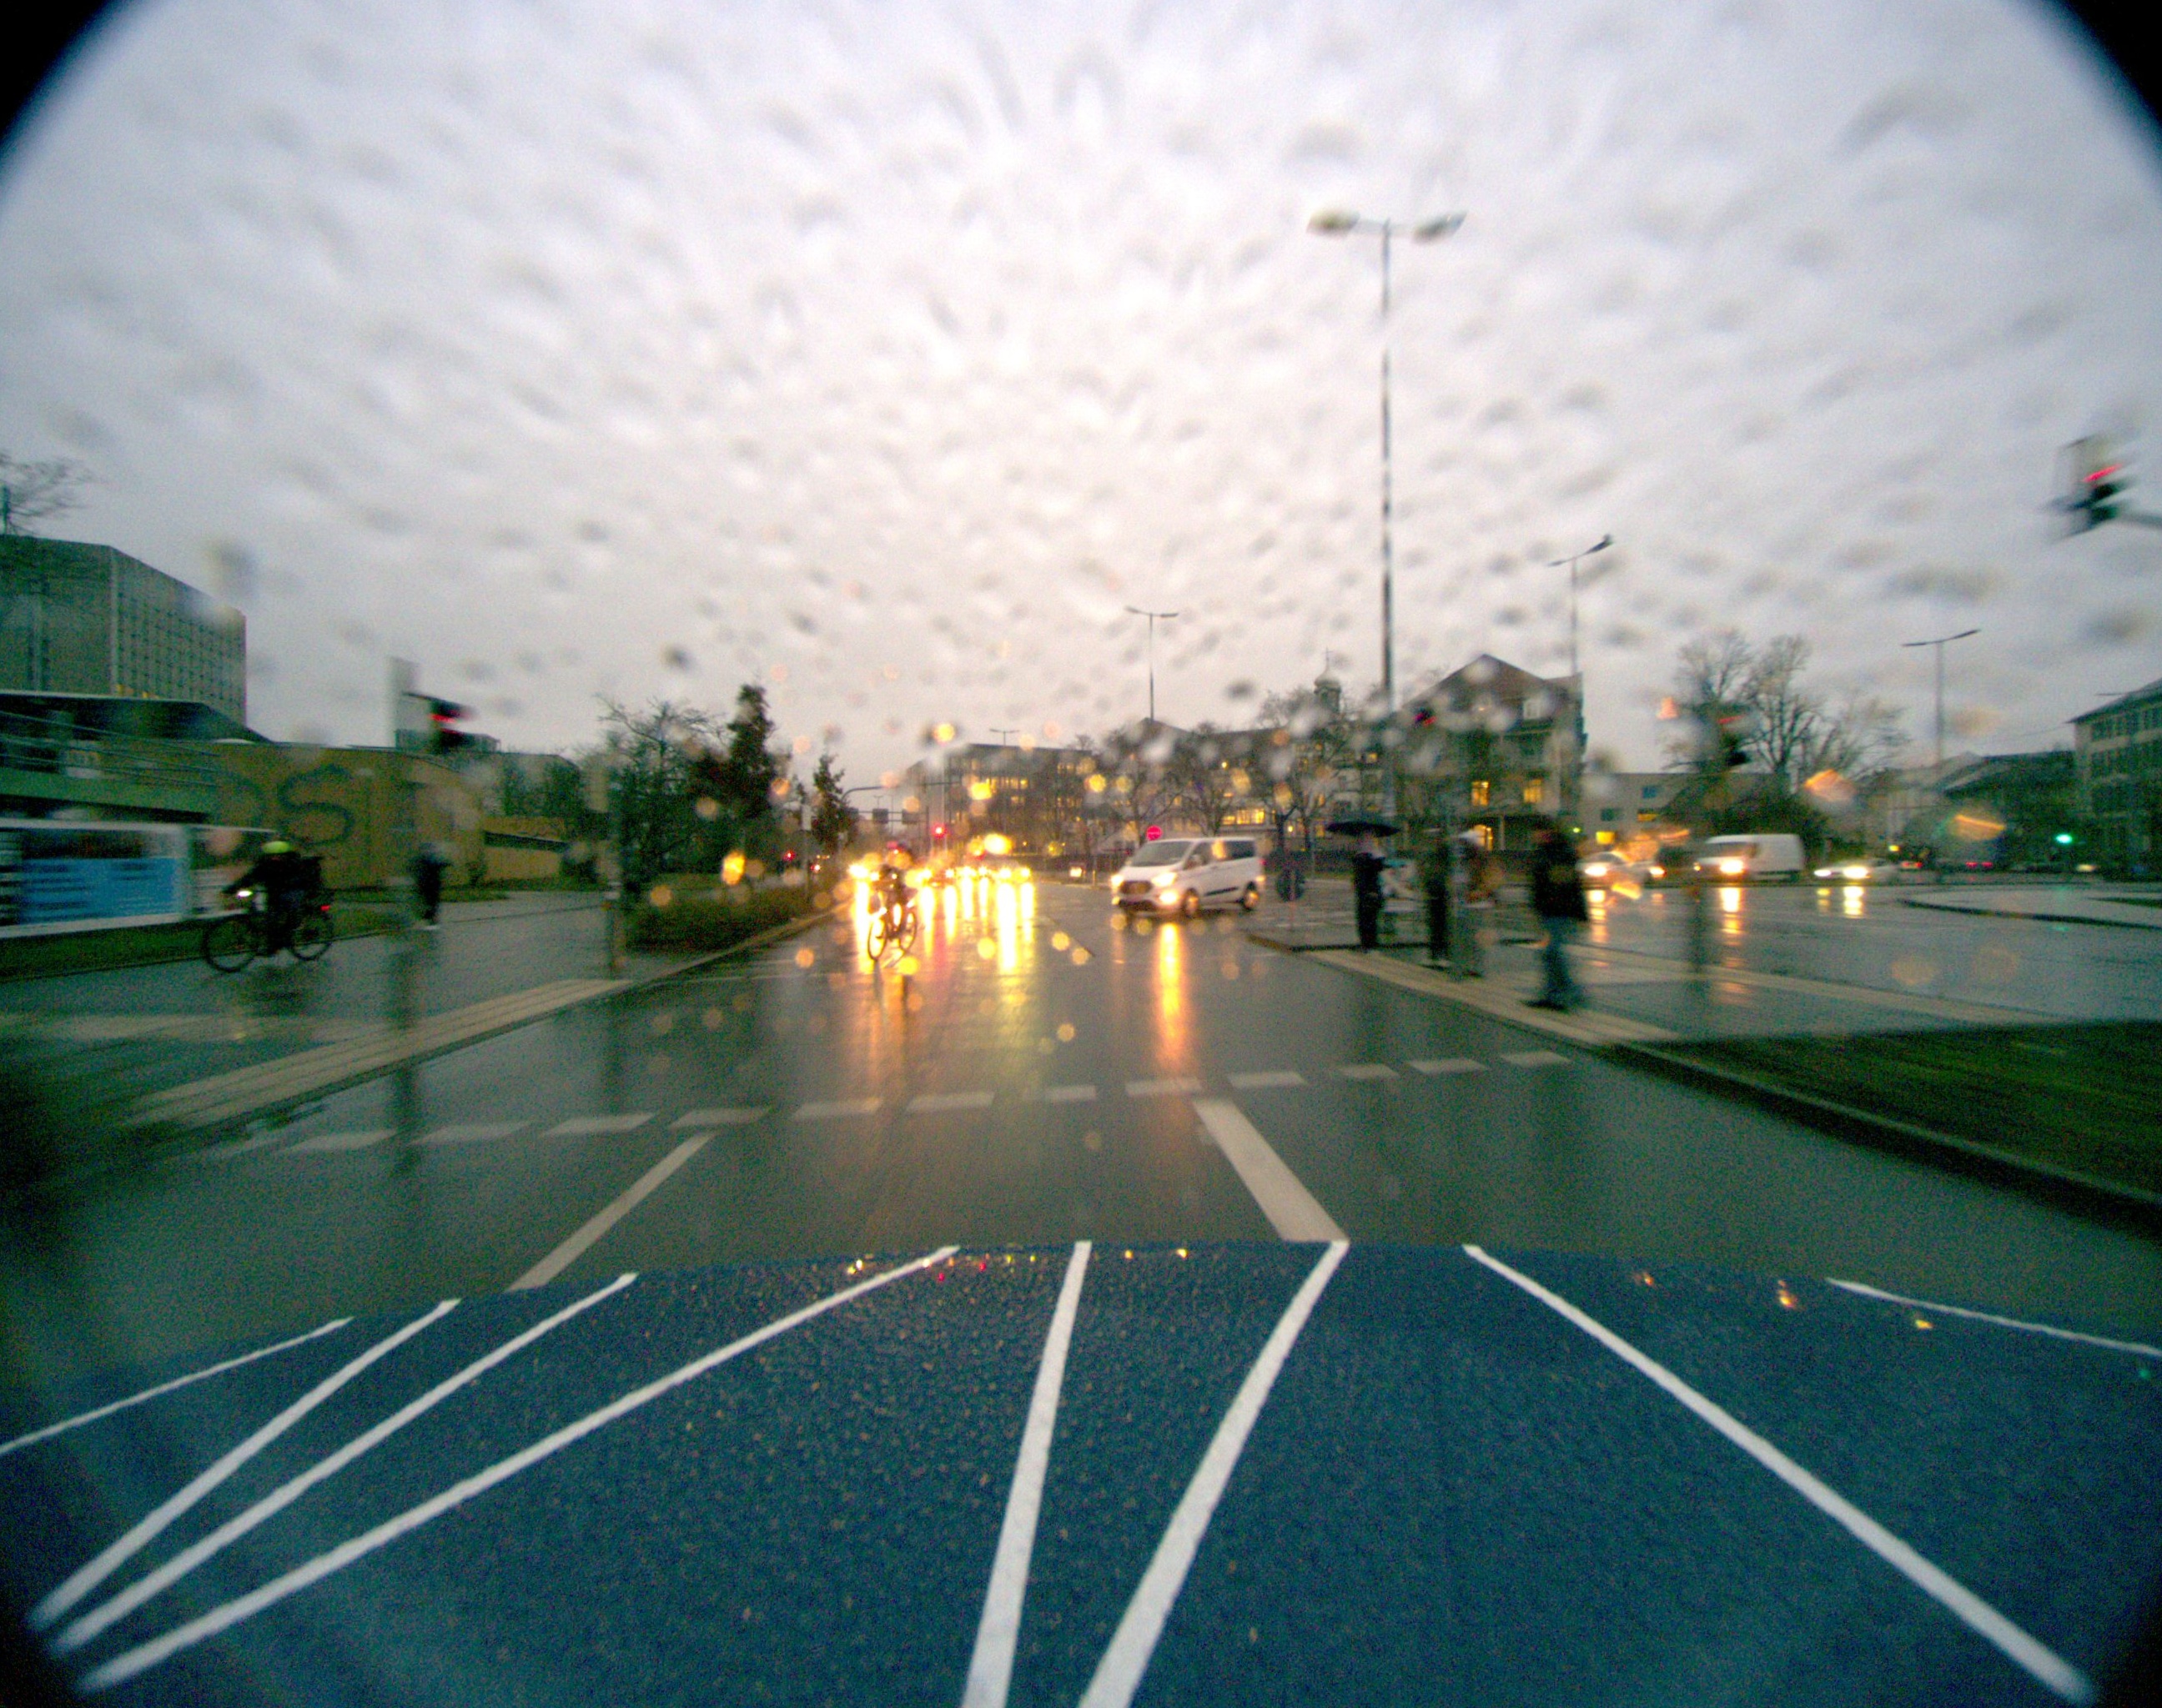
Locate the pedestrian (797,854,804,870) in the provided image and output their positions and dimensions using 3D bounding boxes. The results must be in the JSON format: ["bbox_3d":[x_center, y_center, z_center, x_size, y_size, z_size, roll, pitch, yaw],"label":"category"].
[{"bbox_3d":[-35.384,1.062,95.938,0.767,2.002,0.771,0,1,-20],"label":"pedestrian"}]

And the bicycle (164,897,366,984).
[{"bbox_3d":[-10.997,1.118,10.372,0.563,0.941,2.094,0,0,-3],"label":"bicycle"}]

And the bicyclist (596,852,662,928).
[{"bbox_3d":[-10.004,0.773,16.868,0.806,1.608,1.085,3,0,-6],"label":"bicyclist"}]

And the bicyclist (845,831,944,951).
[{"bbox_3d":[-3.053,0.587,12.556,1.025,1.872,1.237,-1,0,18],"label":"bicyclist"}]

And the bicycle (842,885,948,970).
[{"bbox_3d":[-3.037,1.167,12.606,0.793,1.215,1.906,-2,0,17],"label":"bicycle"}]

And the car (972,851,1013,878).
[{"bbox_3d":[-6.803,0.740,57.722,2.003,1.739,4.463,7,-2,-19],"label":"car"}]

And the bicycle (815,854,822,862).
[{"bbox_3d":[-32.287,0.509,93.554,0.795,1.009,2.898,0,0,-19],"label":"bicycle"}]

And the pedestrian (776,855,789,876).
[{"bbox_3d":[-25.617,0.999,65.224,0.934,1.815,0.832,0,1,-19],"label":"pedestrian"}]

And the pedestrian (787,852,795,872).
[{"bbox_3d":[-30.292,0.816,79.418,0.767,2.002,0.909,0,1,-20],"label":"pedestrian"}]

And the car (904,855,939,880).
[{"bbox_3d":[-11.700,0.968,55.523,2.002,1.739,4.463,0,0,-19],"label":"car"}]

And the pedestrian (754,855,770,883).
[{"bbox_3d":[-21.259,1.012,50.695,0.934,1.815,0.832,0,1,-19],"label":"pedestrian"}]

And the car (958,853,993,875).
[{"bbox_3d":[-8.866,0.844,63.494,2.002,1.739,4.463,1,0,-19],"label":"car"}]

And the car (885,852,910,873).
[{"bbox_3d":[-17.708,0.806,73.208,2.002,1.912,4.260,0,0,-19],"label":"car"}]

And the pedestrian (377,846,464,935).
[{"bbox_3d":[-12.936,0.720,14.917,0.913,1.677,0.927,1,-2,-14],"label":"pedestrian"}]

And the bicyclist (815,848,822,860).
[{"bbox_3d":[-32.309,0.046,93.582,0.768,1.481,0.993,0,1,-19],"label":"bicyclist"}]

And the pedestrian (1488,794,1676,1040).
[{"bbox_3d":[4.385,0.532,6.758,0.848,1.993,1.110,-1,-2,-3],"label":"pedestrian"}]

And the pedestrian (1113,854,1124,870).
[{"bbox_3d":[4.100,0.864,83.181,0.809,1.820,0.946,0,1,-23],"label":"pedestrian"}]

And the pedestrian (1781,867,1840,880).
[{"bbox_3d":[55.408,1.510,57.774,3.091,0.924,0.951,-3,-3,37],"label":"pedestrian"}]

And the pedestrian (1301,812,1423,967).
[{"bbox_3d":[3.973,0.491,10.767,1.217,2.037,1.033,0,-2,-31],"label":"pedestrian"}]

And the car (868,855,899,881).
[{"bbox_3d":[-14.258,0.957,54.771,2.001,1.827,3.994,0,0,-17],"label":"car"}]

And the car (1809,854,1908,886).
[{"bbox_3d":[40.923,0.812,39.987,4.822,1.634,1.835,0,0,-21],"label":"car"}]

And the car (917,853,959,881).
[{"bbox_3d":[-9.351,0.809,49.442,2.002,1.739,4.937,0,0,-19],"label":"car"}]

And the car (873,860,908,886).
[{"bbox_3d":[-12.057,1.151,47.966,1.776,1.478,4.463,0,0,-19],"label":"car"}]

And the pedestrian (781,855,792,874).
[{"bbox_3d":[-28.184,1.028,72.685,0.934,1.815,0.832,0,1,-19],"label":"pedestrian"}]

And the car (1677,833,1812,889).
[{"bbox_3d":[31.491,0.354,36.058,5.874,2.502,2.345,0,-2,-22],"label":"car"}]

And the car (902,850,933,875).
[{"bbox_3d":[-13.015,0.672,60.207,2.002,1.892,3.994,0,0,-18],"label":"car"}]

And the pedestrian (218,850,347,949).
[{"bbox_3d":[-10.971,0.606,10.475,0.877,1.309,0.848,0,1,-5],"label":"pedestrian"}]

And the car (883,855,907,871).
[{"bbox_3d":[-19.524,0.930,79.629,2.002,1.558,4.753,1,0,-19],"label":"car"}]

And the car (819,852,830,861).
[{"bbox_3d":[-51.879,0.460,153.514,2.145,1.805,3.993,0,0,-20],"label":"car"}]

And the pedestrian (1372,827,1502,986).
[{"bbox_3d":[4.484,0.638,9.595,1.037,1.846,1.068,1,-2,-35],"label":"pedestrian"}]

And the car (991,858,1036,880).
[{"bbox_3d":[-4.496,0.974,50.146,1.934,1.368,4.491,0,0,-19],"label":"car"}]

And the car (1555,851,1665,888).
[{"bbox_3d":[22.500,0.677,32.307,4.322,1.494,1.753,0,-2,-23],"label":"car"}]

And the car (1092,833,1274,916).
[{"bbox_3d":[2.821,0.561,20.137,2.132,1.909,5.028,-2,-3,45],"label":"car"}]

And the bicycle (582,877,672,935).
[{"bbox_3d":[-10.033,1.117,16.906,0.806,1.135,2.212,3,0,-6],"label":"bicycle"}]
